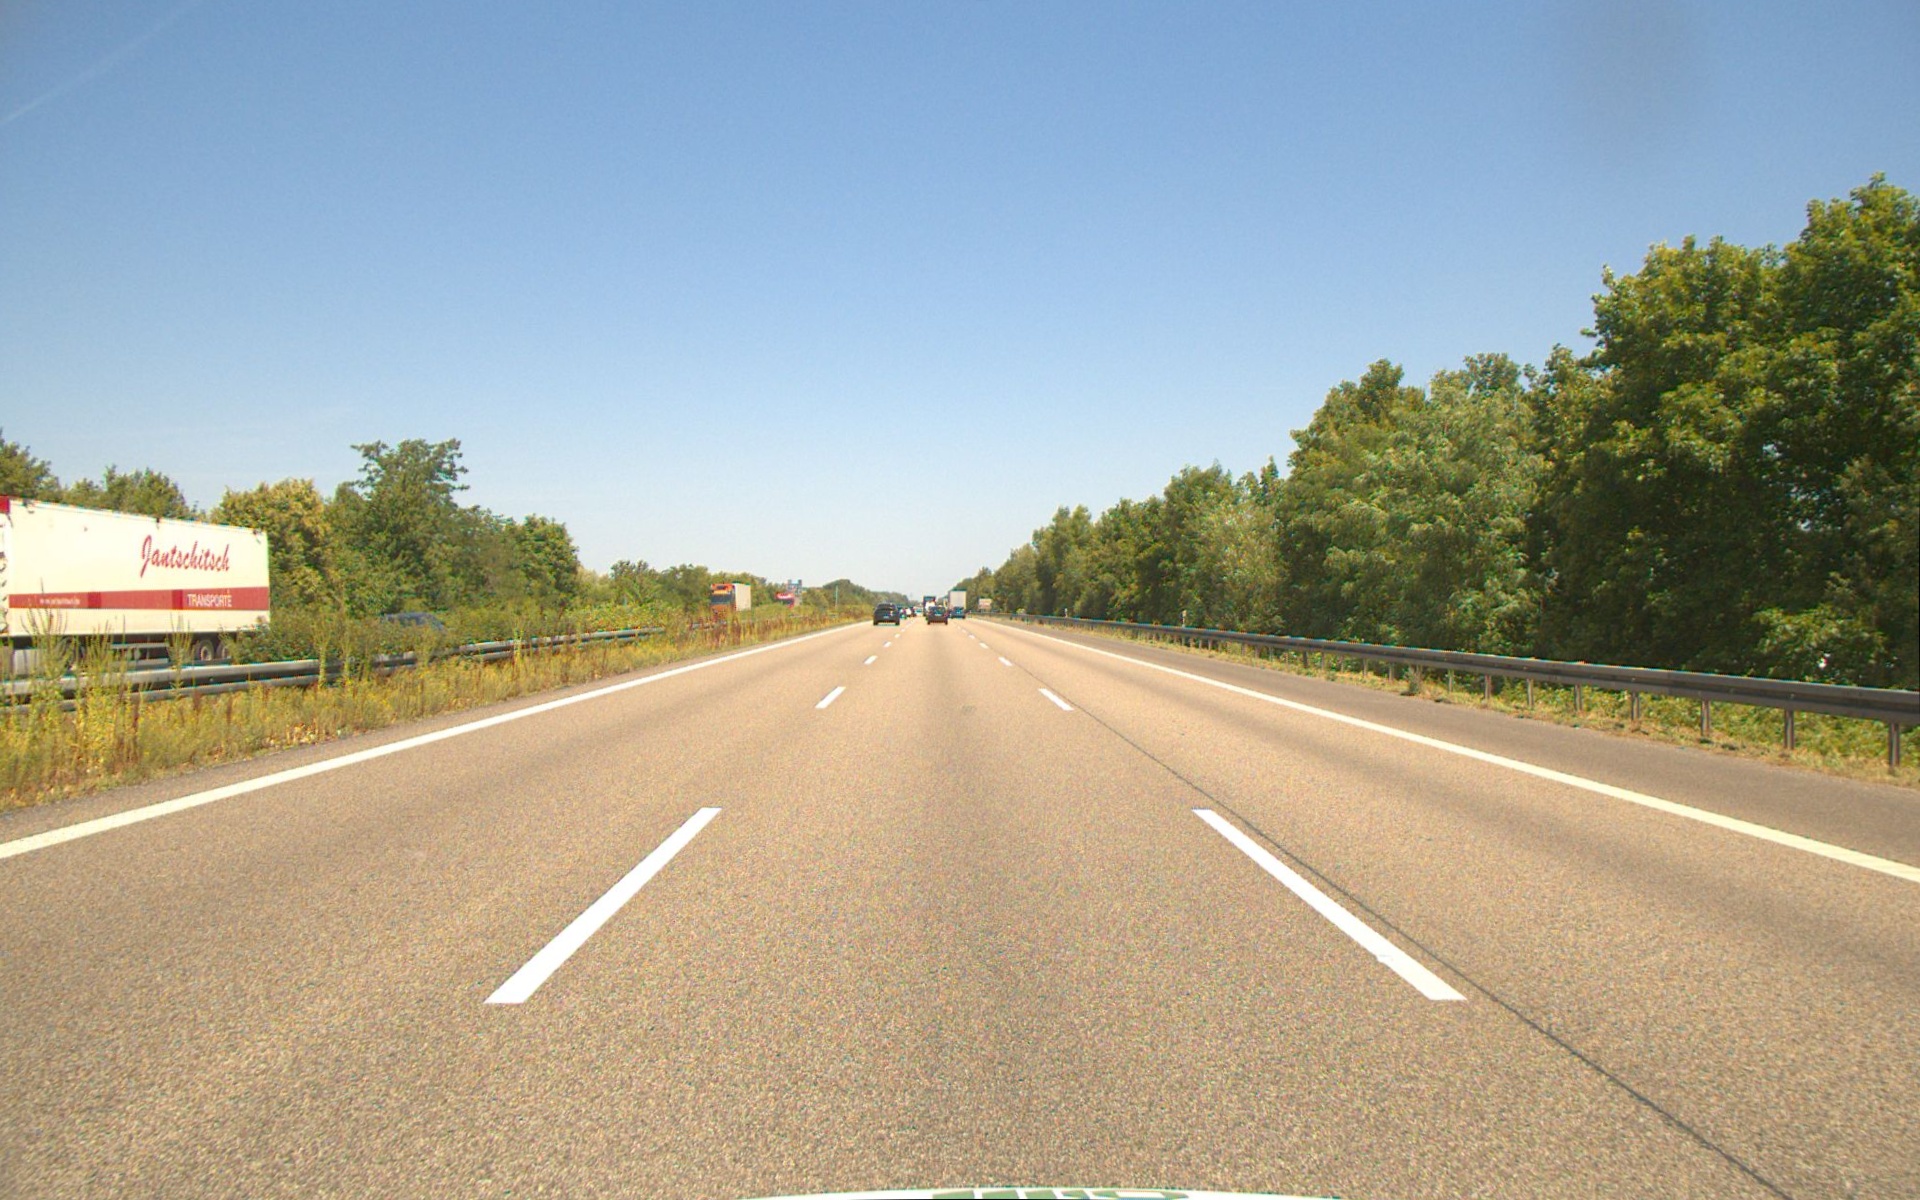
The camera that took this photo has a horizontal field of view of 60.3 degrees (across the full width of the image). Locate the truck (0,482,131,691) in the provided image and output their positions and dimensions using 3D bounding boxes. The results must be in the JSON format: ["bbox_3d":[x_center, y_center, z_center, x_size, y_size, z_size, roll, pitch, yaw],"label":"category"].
[{"bbox_3d":[-21.075,-0.296,35.428,2.784,4.280,7.713,0,0,-1],"label":"truck"}]

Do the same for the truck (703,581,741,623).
[{"bbox_3d":[-23.826,0.192,165.677,2.677,4.004,7.414,-3,0,-1],"label":"truck"}]

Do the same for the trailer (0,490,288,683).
[{"bbox_3d":[-21.169,-0.312,42.622,2.784,4.246,12.219,0,0,-1],"label":"trailer"}]

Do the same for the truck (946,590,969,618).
[{"bbox_3d":[-0.422,0.573,249.652,3.316,4.040,9.535,-1,0,-1],"label":"truck"}]

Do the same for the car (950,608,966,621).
[{"bbox_3d":[-0.252,1.938,217.751,2.085,1.611,4.303,-1,0,-1],"label":"car"}]

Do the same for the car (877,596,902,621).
[{"bbox_3d":[-5.368,0.640,125.640,1.842,1.823,3.999,0,1,-2],"label":"car"}]

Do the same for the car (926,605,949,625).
[{"bbox_3d":[-1.814,1.216,133.882,1.864,1.611,4.303,-1,0,-1],"label":"car"}]

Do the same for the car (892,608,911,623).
[{"bbox_3d":[-6.835,1.770,192.186,2.085,1.674,4.303,-1,0,-1],"label":"car"}]

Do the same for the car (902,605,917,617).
[{"bbox_3d":[-7.557,1.625,249.113,2.085,1.674,4.303,-1,0,-1],"label":"car"}]
